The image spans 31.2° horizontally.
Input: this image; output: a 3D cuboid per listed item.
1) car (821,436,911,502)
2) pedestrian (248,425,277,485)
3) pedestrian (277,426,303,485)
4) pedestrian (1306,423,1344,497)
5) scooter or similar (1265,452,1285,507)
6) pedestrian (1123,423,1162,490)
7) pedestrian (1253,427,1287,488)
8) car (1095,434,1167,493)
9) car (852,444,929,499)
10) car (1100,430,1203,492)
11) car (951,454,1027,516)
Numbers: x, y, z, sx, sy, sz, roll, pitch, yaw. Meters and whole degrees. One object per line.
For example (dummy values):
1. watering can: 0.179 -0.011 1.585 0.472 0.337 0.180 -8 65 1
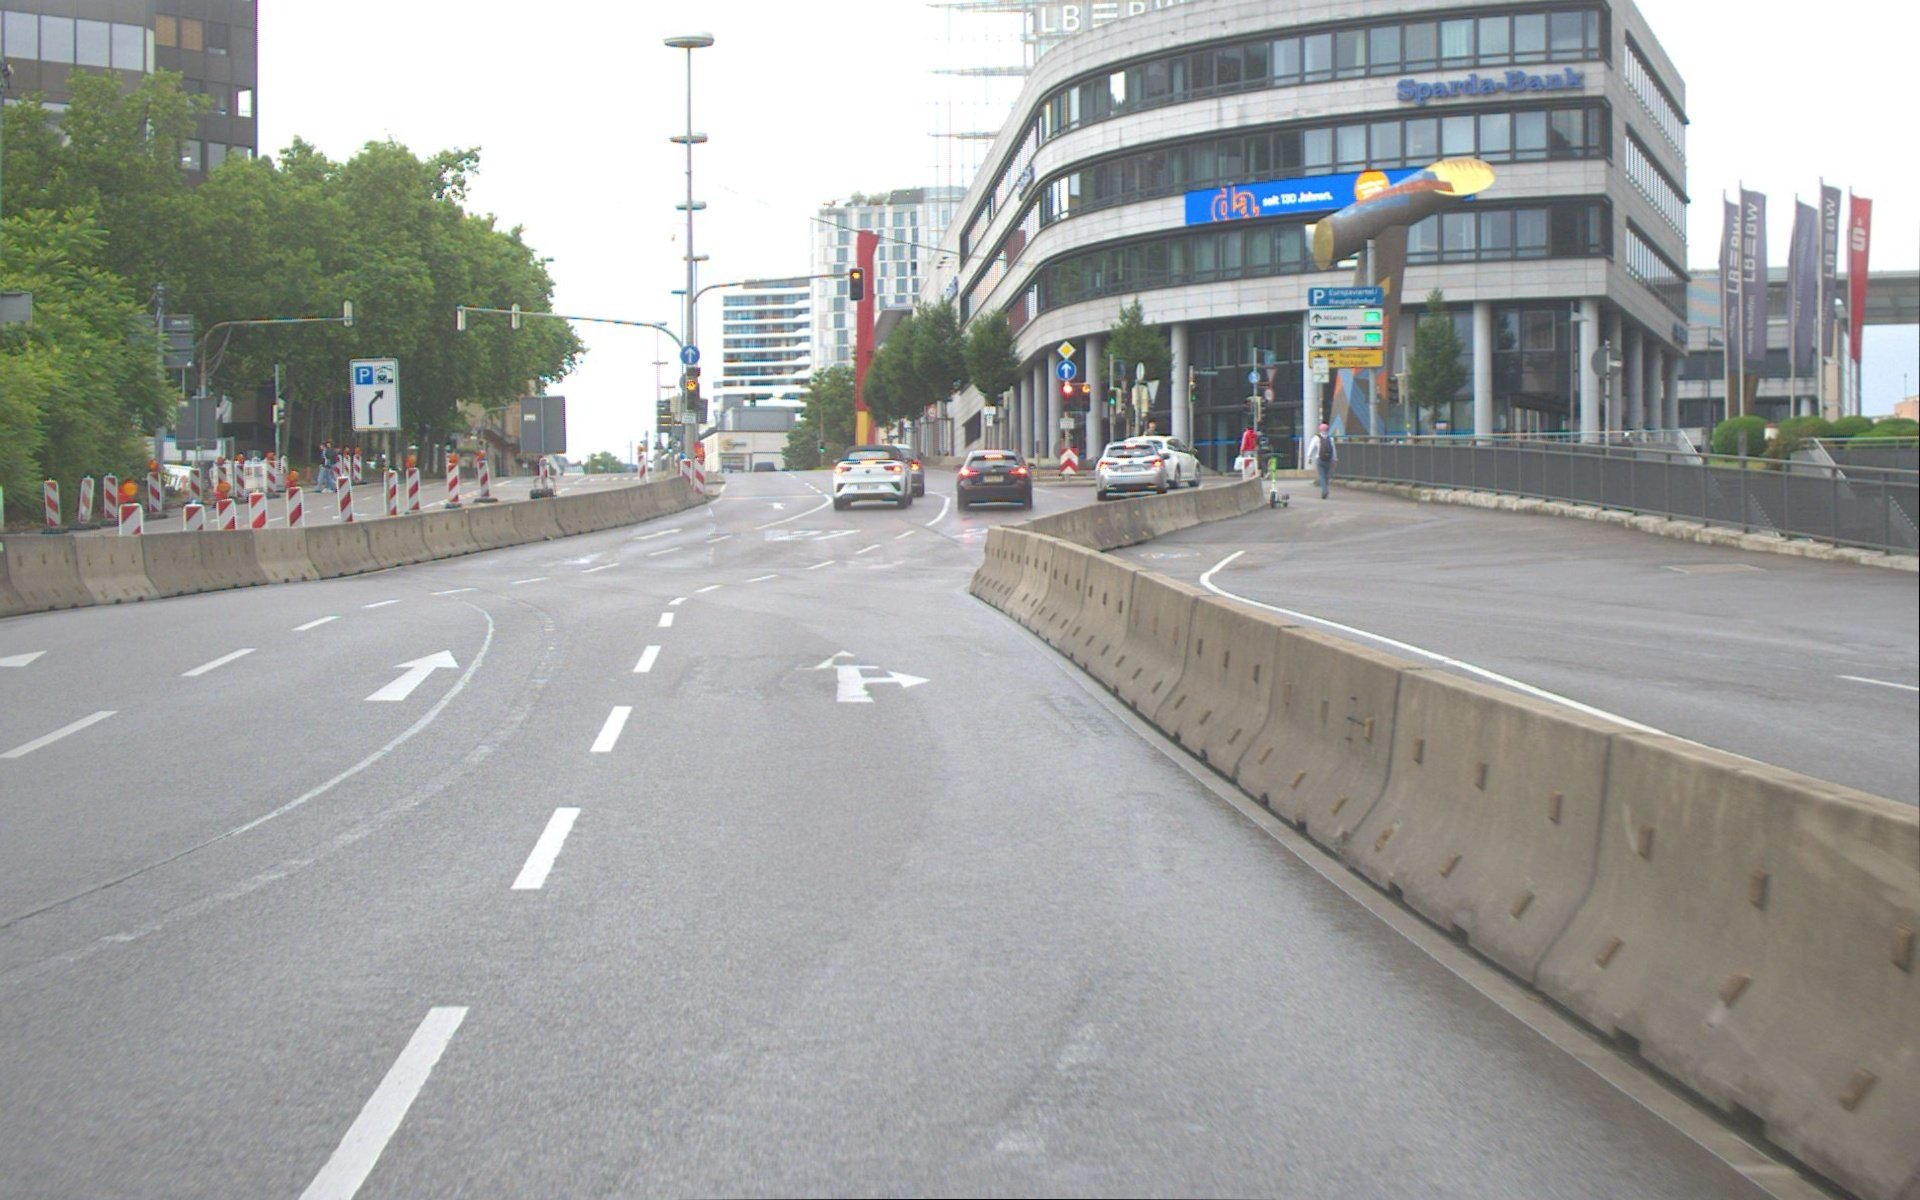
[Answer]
1. car: -2.281 -3.240 84.426 1.964 1.543 4.219 0 3 2
2. pedestrian: -22.617 -4.694 111.500 0.761 1.916 0.742 0 1 -1
3. pedestrian: -21.739 -4.687 111.526 0.672 1.895 0.776 0 1 -1
4. pedestrian: 8.560 -3.284 80.658 0.729 1.705 0.843 0 1 -4
5. scooter or similar: 6.671 -2.560 72.868 0.349 1.158 0.572 0 2 12
6. pedestrian: 5.866 -4.611 110.362 0.852 2.091 0.905 0 3 -26
7. pedestrian: 9.846 -4.505 109.104 0.841 1.898 0.860 0 1 23
8. car: 4.364 -3.448 87.235 1.701 1.446 4.615 0 2 4
9. car: -1.907 -3.493 92.993 1.739 1.438 4.001 -1 3 -6
10. car: 5.298 -3.847 94.615 1.773 1.628 4.578 0 3 17
11. car: 0.671 -2.748 82.438 1.755 1.402 4.228 1 2 0
